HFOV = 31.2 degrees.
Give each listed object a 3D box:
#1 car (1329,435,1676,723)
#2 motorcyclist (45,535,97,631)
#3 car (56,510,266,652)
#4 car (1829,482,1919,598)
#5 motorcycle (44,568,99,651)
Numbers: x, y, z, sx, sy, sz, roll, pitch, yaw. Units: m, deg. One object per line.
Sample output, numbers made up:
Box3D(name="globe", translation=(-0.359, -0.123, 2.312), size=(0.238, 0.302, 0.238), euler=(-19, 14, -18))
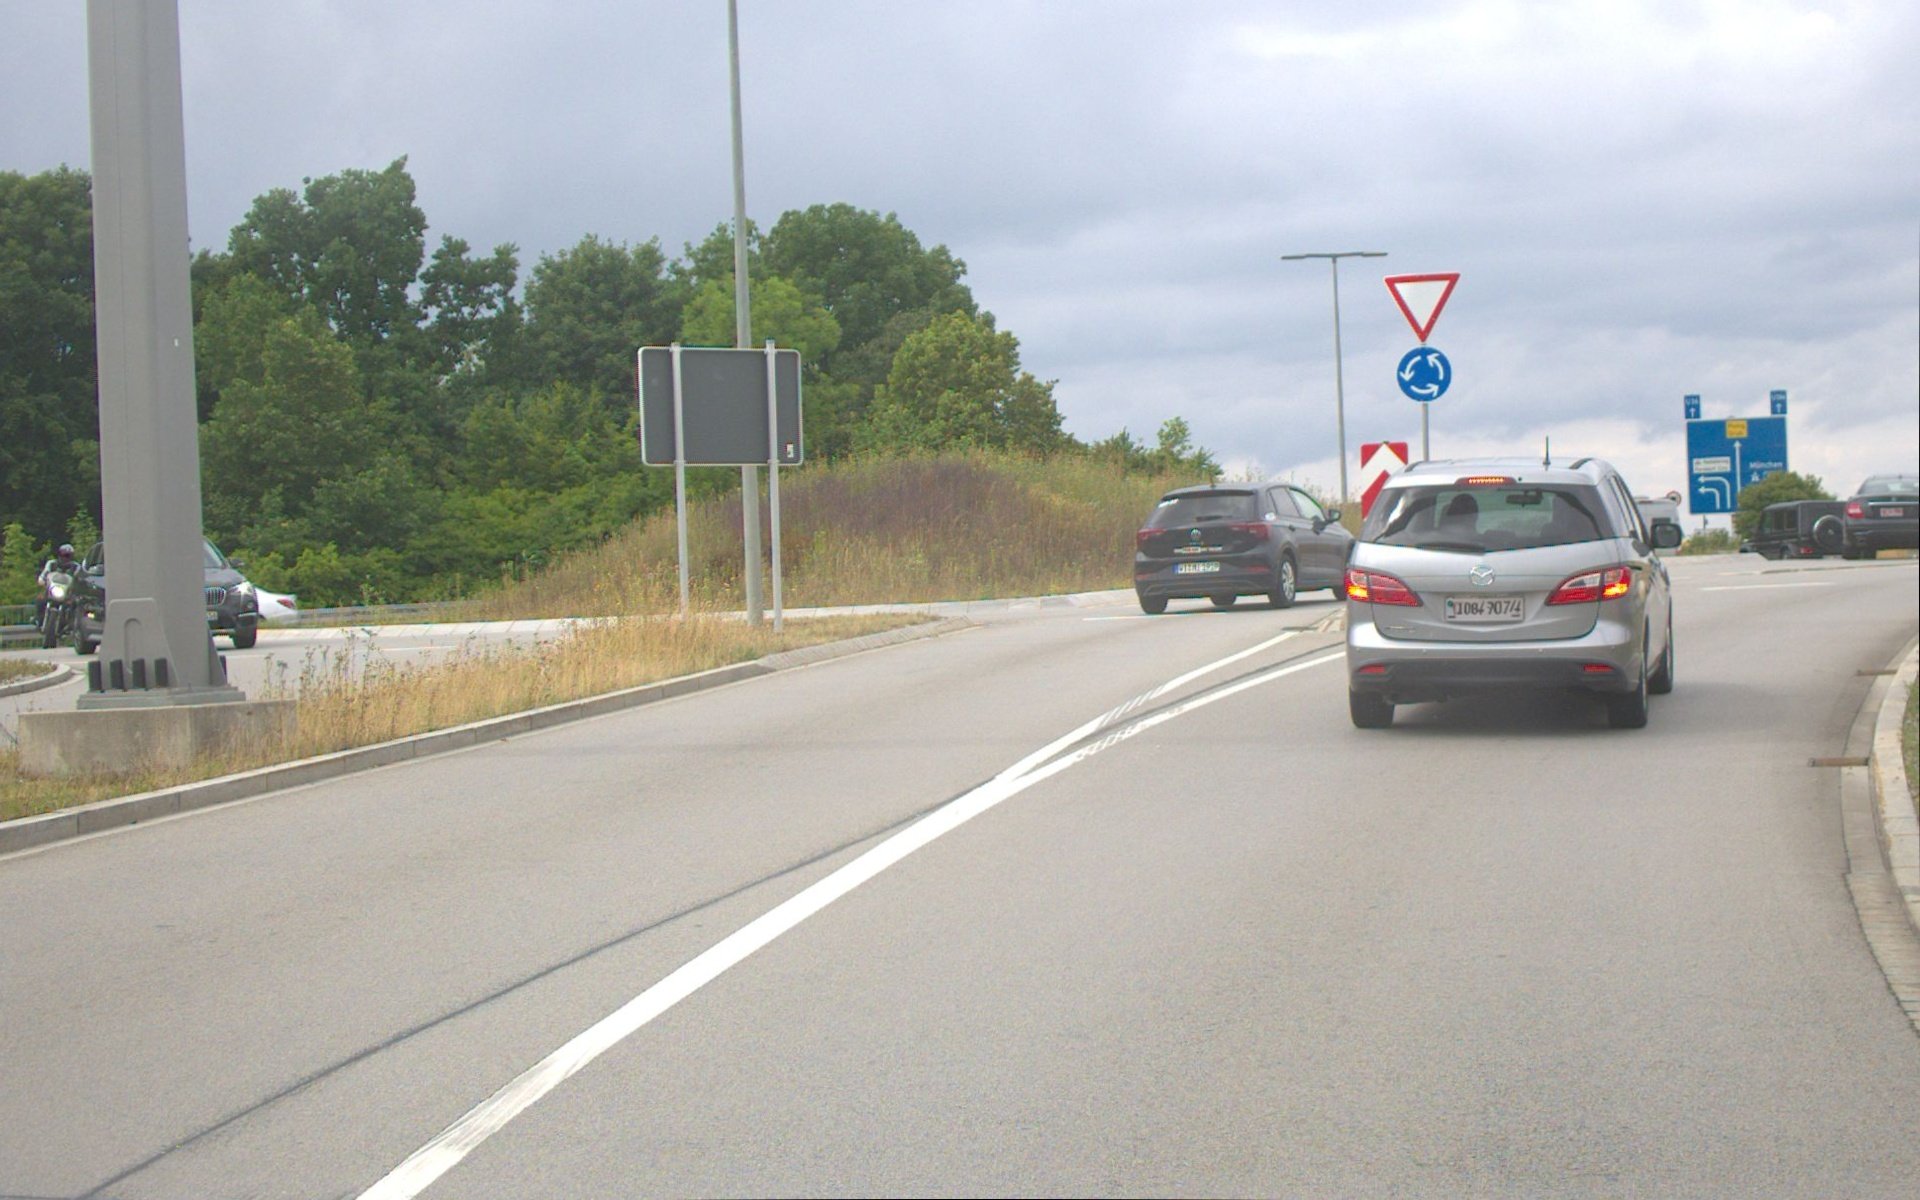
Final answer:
Box3D(name="car", translation=(3.453, -0.201, 21.326), size=(1.768, 1.611, 3.919), euler=(0, 3, 14))
Box3D(name="motorcyclist", translation=(-14.410, -0.273, 55.708), size=(0.729, 1.521, 0.656), euler=(-3, 0, -16))
Box3D(name="car", translation=(-10.643, -0.254, 45.581), size=(1.853, 1.659, 4.163), euler=(-5, 2, -24))
Box3D(name="car", translation=(15.323, -1.001, 56.344), size=(1.897, 1.777, 4.154), euler=(-2, 1, 16))
Box3D(name="motorcycle", translation=(-14.477, 0.150, 56.009), size=(0.748, 1.297, 2.486), euler=(-3, 1, -16))
